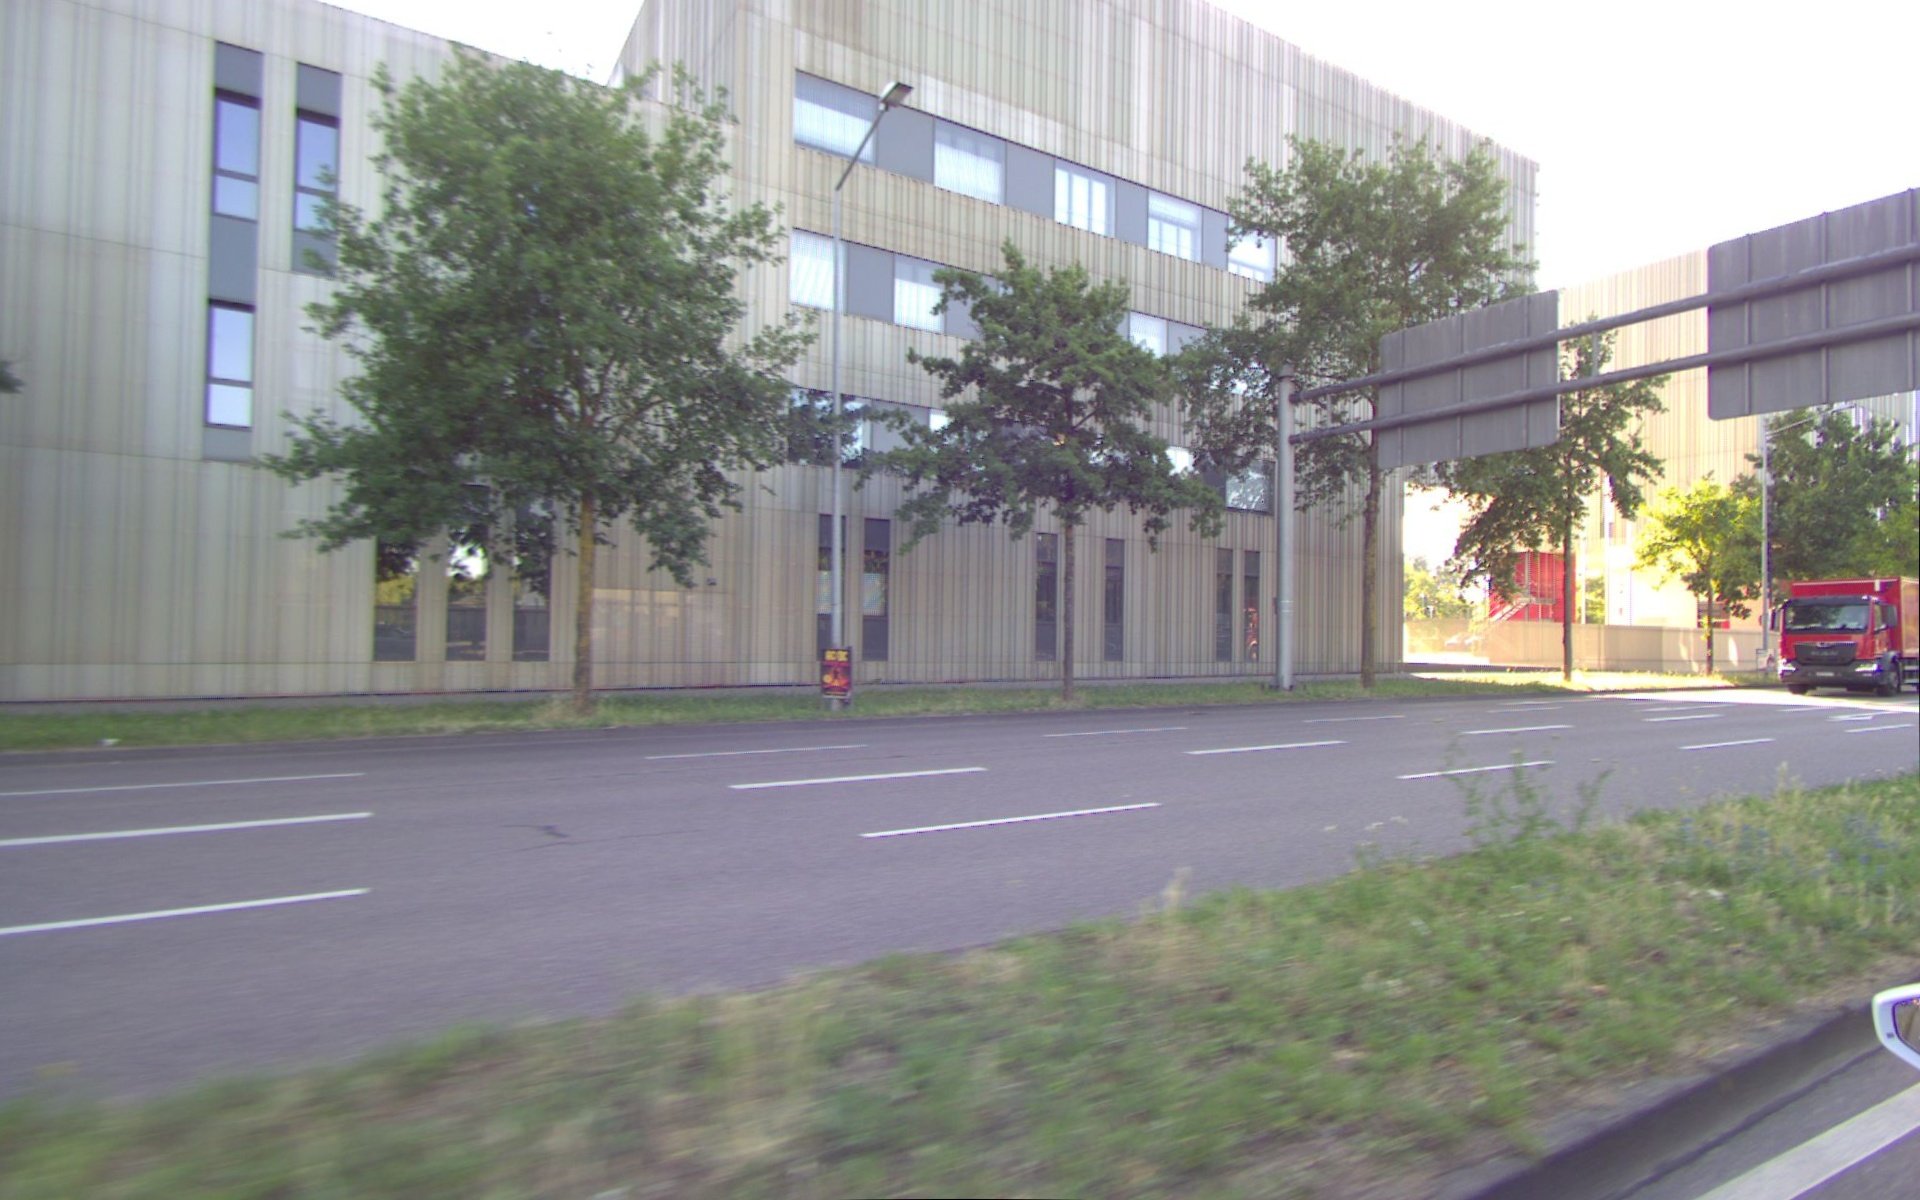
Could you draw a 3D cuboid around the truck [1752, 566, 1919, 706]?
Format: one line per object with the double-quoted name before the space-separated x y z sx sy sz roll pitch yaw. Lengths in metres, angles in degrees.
"truck" 28.844 1.158 31.945 9.987 3.861 2.979 2 -2 -35
